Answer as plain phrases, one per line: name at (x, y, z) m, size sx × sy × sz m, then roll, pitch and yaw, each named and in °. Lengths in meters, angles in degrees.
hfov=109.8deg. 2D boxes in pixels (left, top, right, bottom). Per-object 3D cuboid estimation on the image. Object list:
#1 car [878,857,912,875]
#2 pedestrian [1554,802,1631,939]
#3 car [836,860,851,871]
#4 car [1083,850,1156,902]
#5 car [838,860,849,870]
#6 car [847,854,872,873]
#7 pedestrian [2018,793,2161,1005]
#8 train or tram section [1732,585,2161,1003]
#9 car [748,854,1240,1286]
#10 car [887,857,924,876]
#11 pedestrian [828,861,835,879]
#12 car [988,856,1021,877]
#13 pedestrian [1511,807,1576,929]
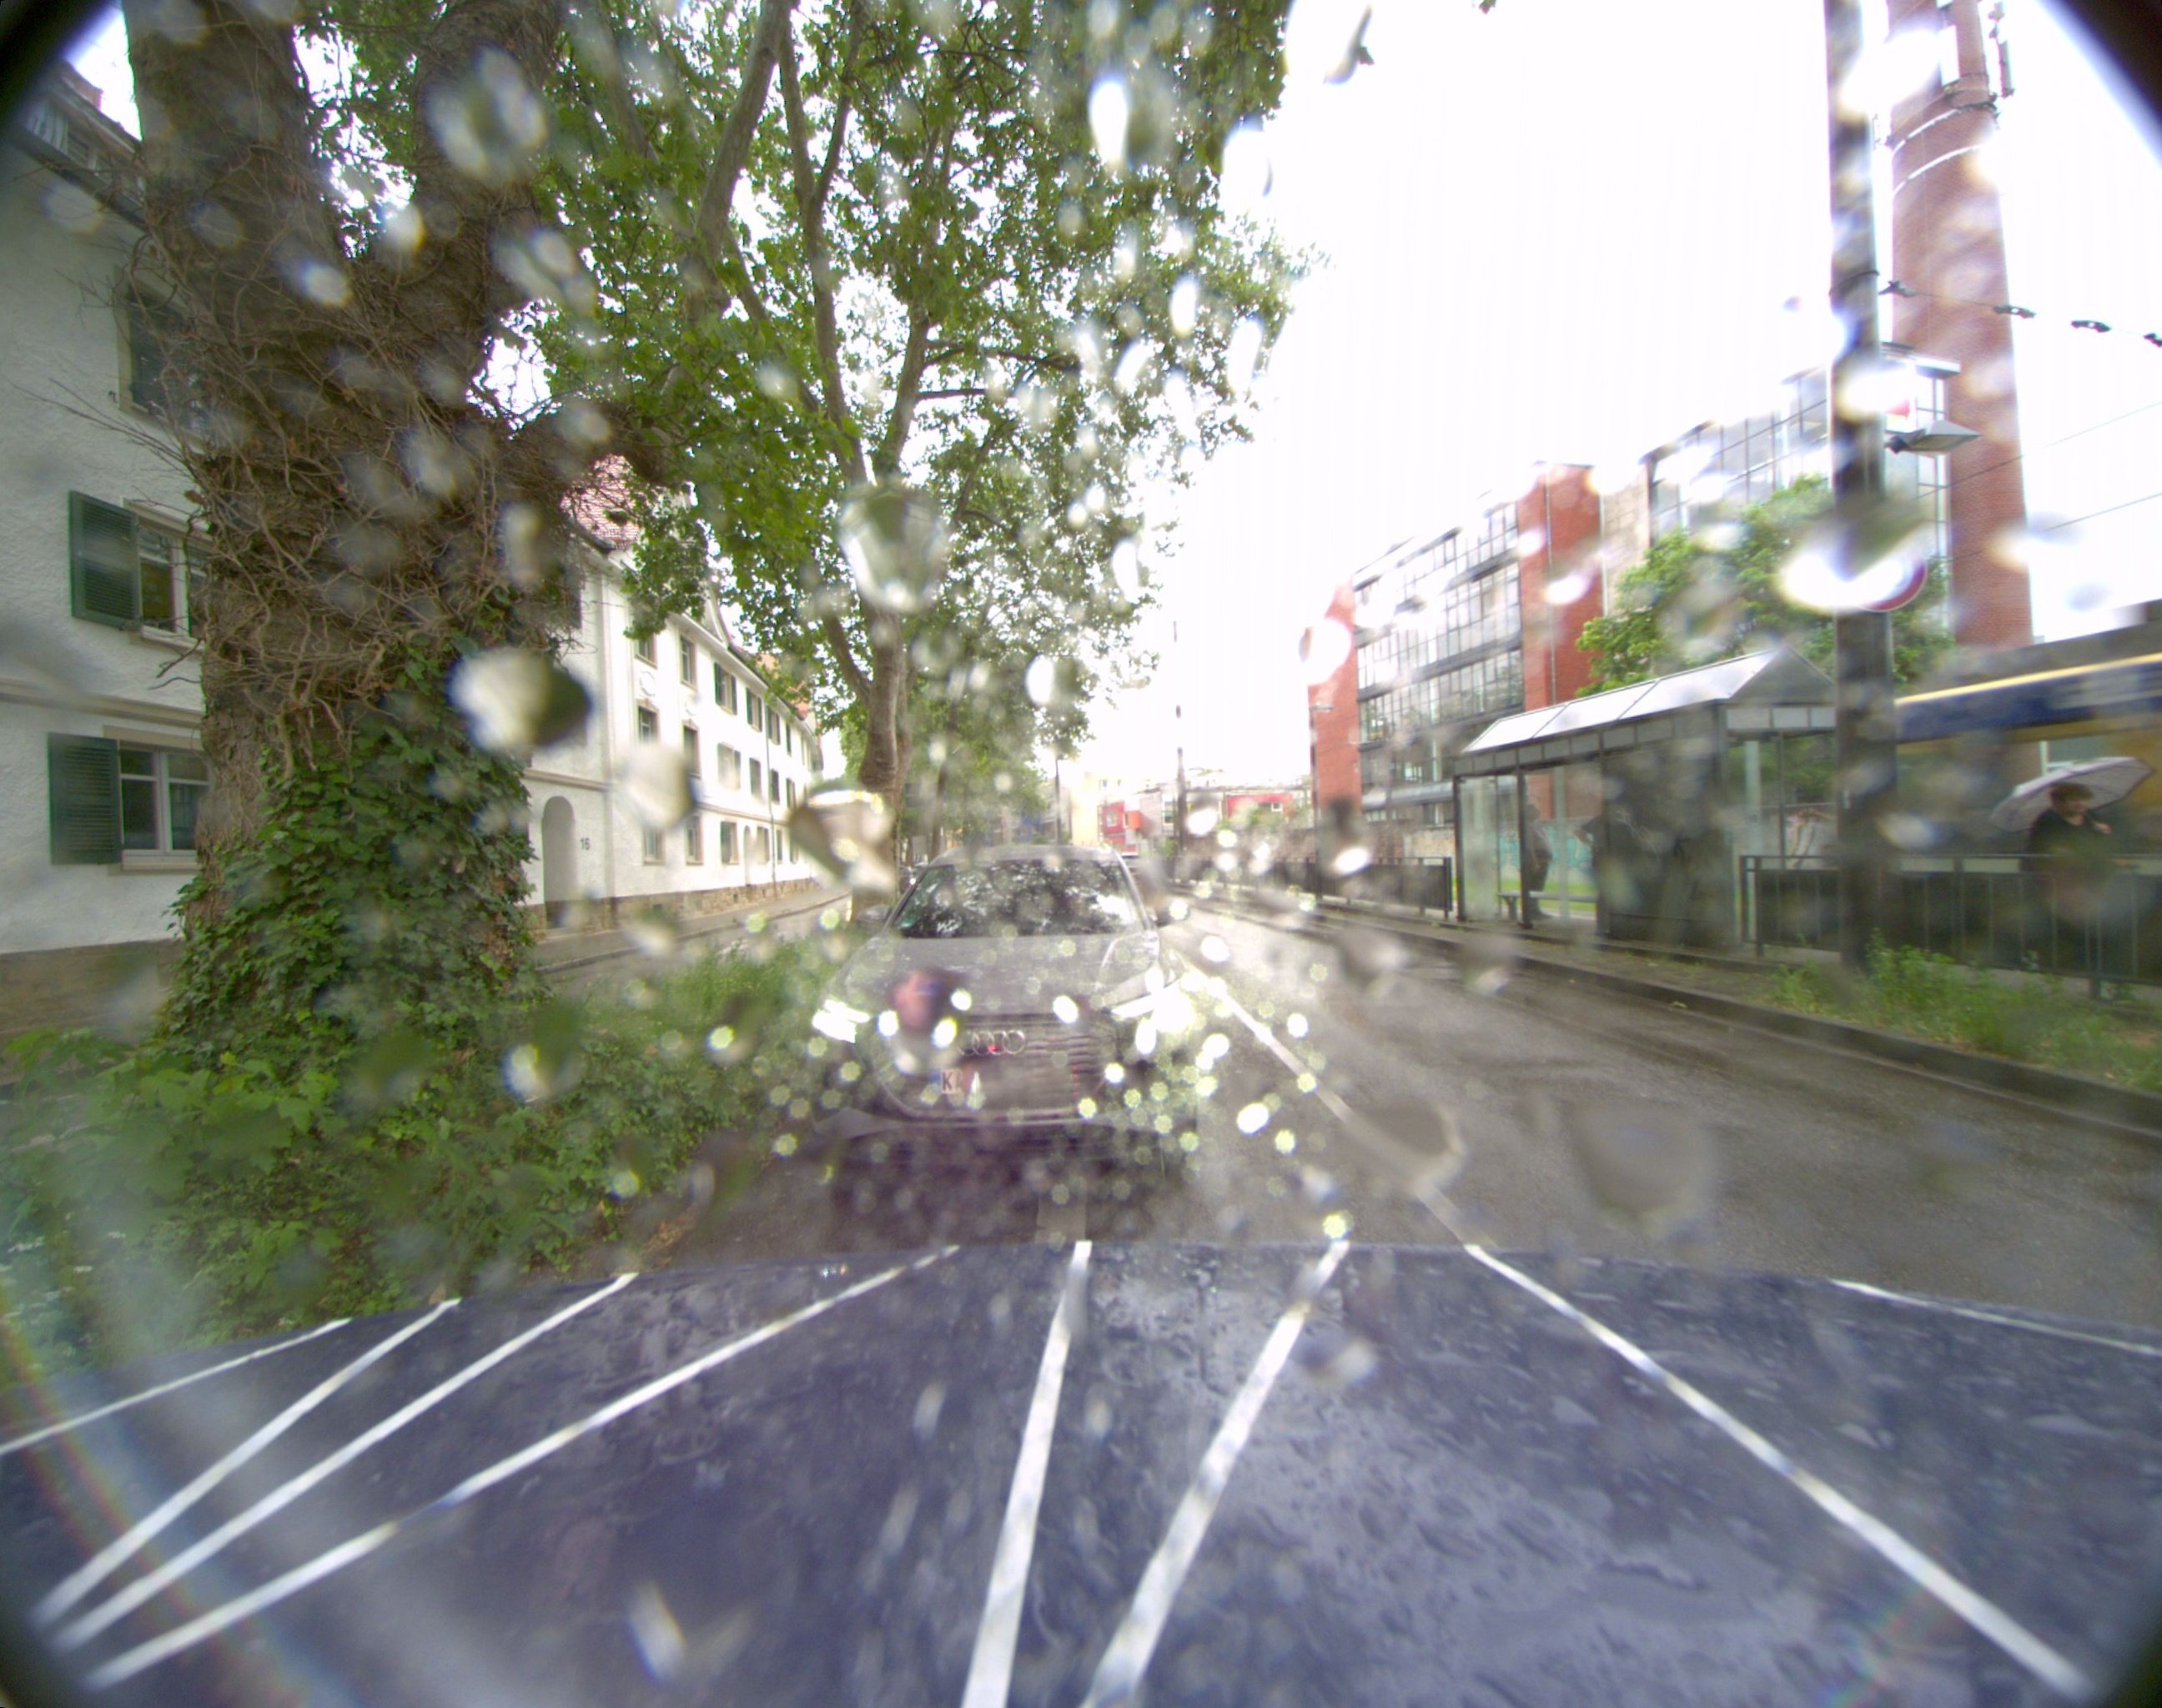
car at (-23.201, 1.502, 94.658) m, size 4.002 × 2.002 × 1.997 m, roll -2°, pitch 0°, yaw -17°
pedestrian at (6.743, 0.212, 10.044) m, size 0.629 × 1.738 × 0.564 m, roll -2°, pitch 1°, yaw 9°
car at (-35.004, 1.736, 111.868) m, size 1.834 × 1.517 × 3.993 m, roll -3°, pitch 1°, yaw -19°
car at (1.286, 0.754, 27.615) m, size 1.809 × 1.673 × 4.600 m, roll -2°, pitch 0°, yaw -7°
car at (-51.456, 2.428, 164.357) m, size 2.002 × 2.001 × 3.993 m, roll 3°, pitch -1°, yaw -20°
car at (-27.146, 1.150, 93.007) m, size 2.199 × 2.250 × 5.401 m, roll -3°, pitch 0°, yaw -24°
pedestrian at (8.130, 0.346, 6.036) m, size 0.798 × 1.588 × 0.506 m, roll 0°, pitch -2°, yaw -10°
train or tram section at (11.346, -0.563, 2.583) m, size 2.870 × 3.525 × 15.358 m, roll -3°, pitch 0°, yaw -11°
car at (-0.403, 0.868, 5.119) m, size 1.917 × 1.632 × 4.106 m, roll -2°, pitch 0°, yaw -2°
car at (-20.229, 1.467, 87.563) m, size 4.002 × 2.002 × 1.997 m, roll -2°, pitch 0°, yaw -17°
pedestrian at (-26.802, 1.705, 81.636) m, size 0.674 × 1.811 × 0.678 m, roll -3°, pitch 1°, yaw -18°
car at (-6.228, 1.008, 61.618) m, size 1.758 × 1.582 × 4.228 m, roll -3°, pitch 0°, yaw -18°
pedestrian at (6.801, 0.197, 11.200) m, size 0.629 × 1.738 × 0.514 m, roll -2°, pitch 1°, yaw 9°
